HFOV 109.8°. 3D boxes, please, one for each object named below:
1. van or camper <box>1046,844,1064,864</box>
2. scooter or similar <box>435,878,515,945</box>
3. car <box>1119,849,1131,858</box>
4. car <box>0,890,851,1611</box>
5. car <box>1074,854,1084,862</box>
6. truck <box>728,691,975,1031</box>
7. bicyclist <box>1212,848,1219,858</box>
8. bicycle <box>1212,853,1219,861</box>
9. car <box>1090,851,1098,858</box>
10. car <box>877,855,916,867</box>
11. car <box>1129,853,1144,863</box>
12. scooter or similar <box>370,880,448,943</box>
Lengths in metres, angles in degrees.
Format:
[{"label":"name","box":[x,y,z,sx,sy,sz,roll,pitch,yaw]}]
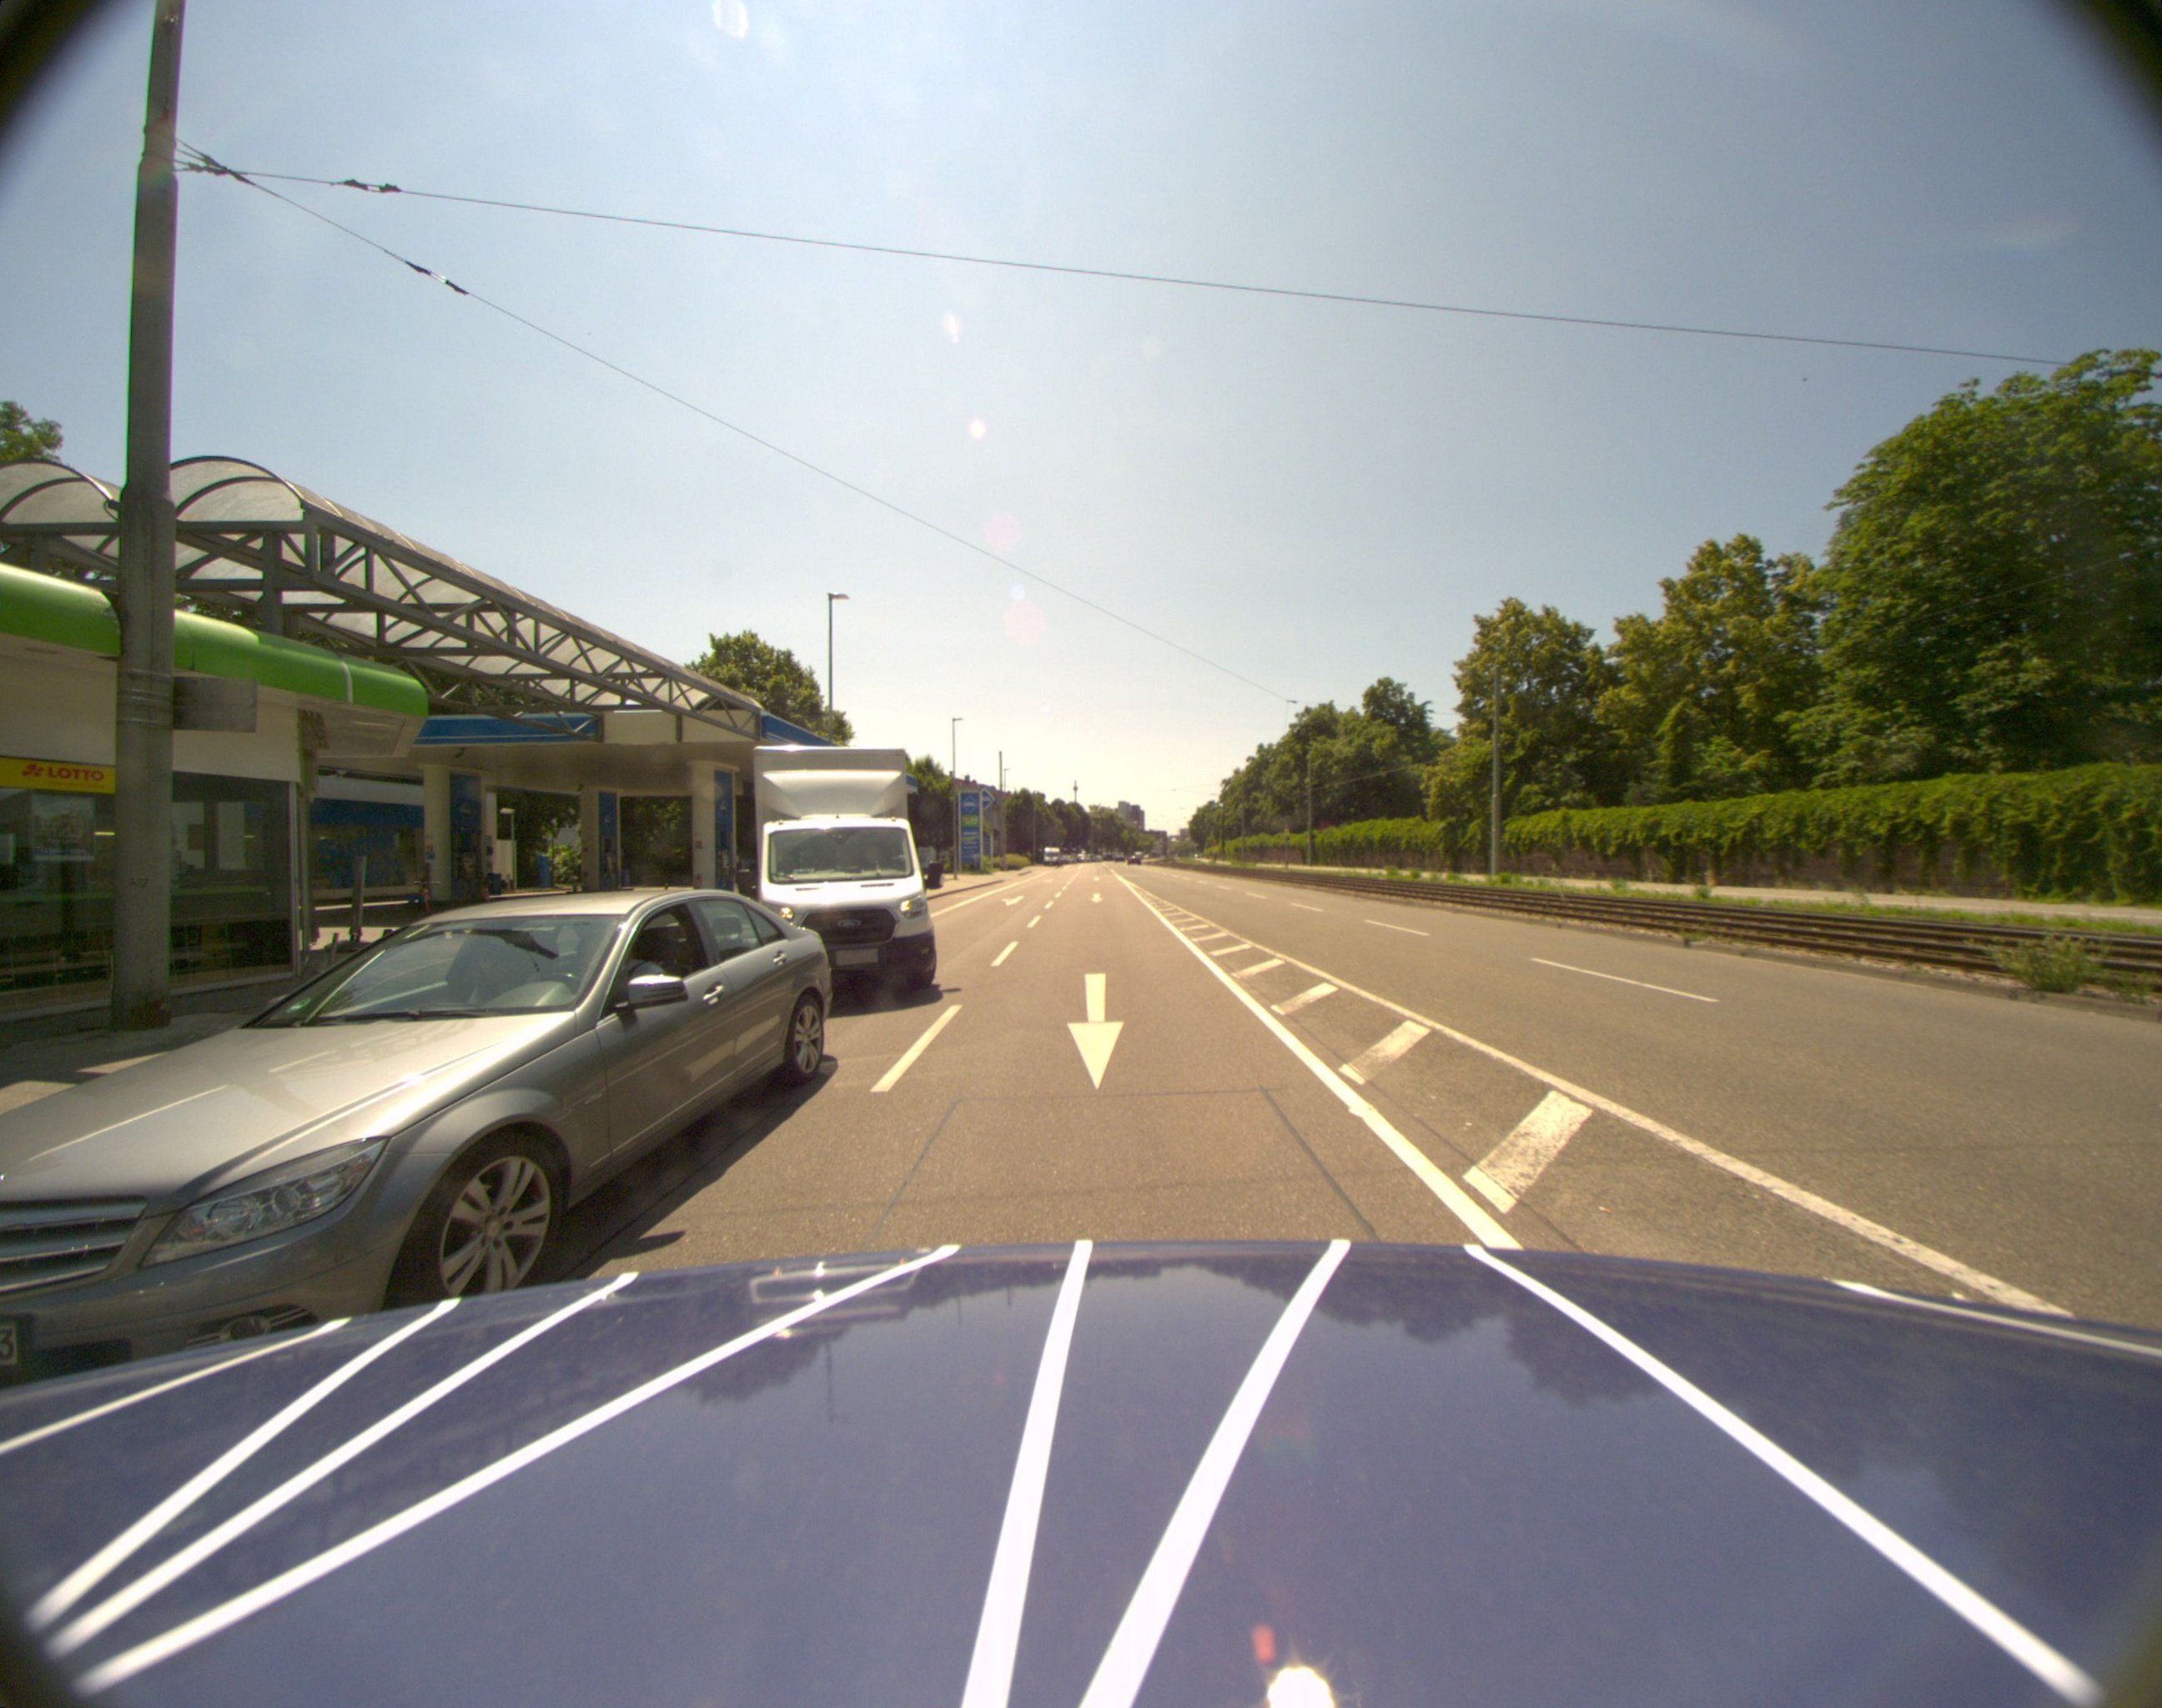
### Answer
[{"label":"van or camper","box":[-3.510,-0.029,101.825,2.126,2.469,5.993,2,0,0]},{"label":"scooter or similar","box":[-11.578,1.087,14.527,1.176,1.233,0.412,-1,1,2]},{"label":"car","box":[8.244,-0.143,143.146,1.998,1.608,4.000,-1,0,1]},{"label":"car","box":[-2.859,1.038,3.982,1.800,1.441,4.418,-1,0,2]},{"label":"car","box":[-0.462,0.750,150.600,1.725,1.586,4.001,-1,0,4]},{"label":"truck","box":[-3.761,0.061,11.632,2.430,3.372,7.819,-1,0,-21]},{"label":"bicyclist","box":[19.234,-0.142,108.649,0.996,1.477,1.001,-1,1,7]},{"label":"bicycle","box":[19.263,0.409,108.716,0.830,1.149,2.686,-1,0,7]},{"label":"car","box":[2.888,0.175,170.577,1.806,1.585,4.000,-1,0,1]},{"label":"car","box":[-23.376,0.894,96.308,4.221,1.512,2.001,-1,0,9]},{"label":"car","box":[8.028,0.512,109.594,1.989,1.350,4.538,-1,0,2]},{"label":"scooter or similar","box":[-12.846,1.096,14.533,1.138,1.170,0.384,-1,1,2]}]
